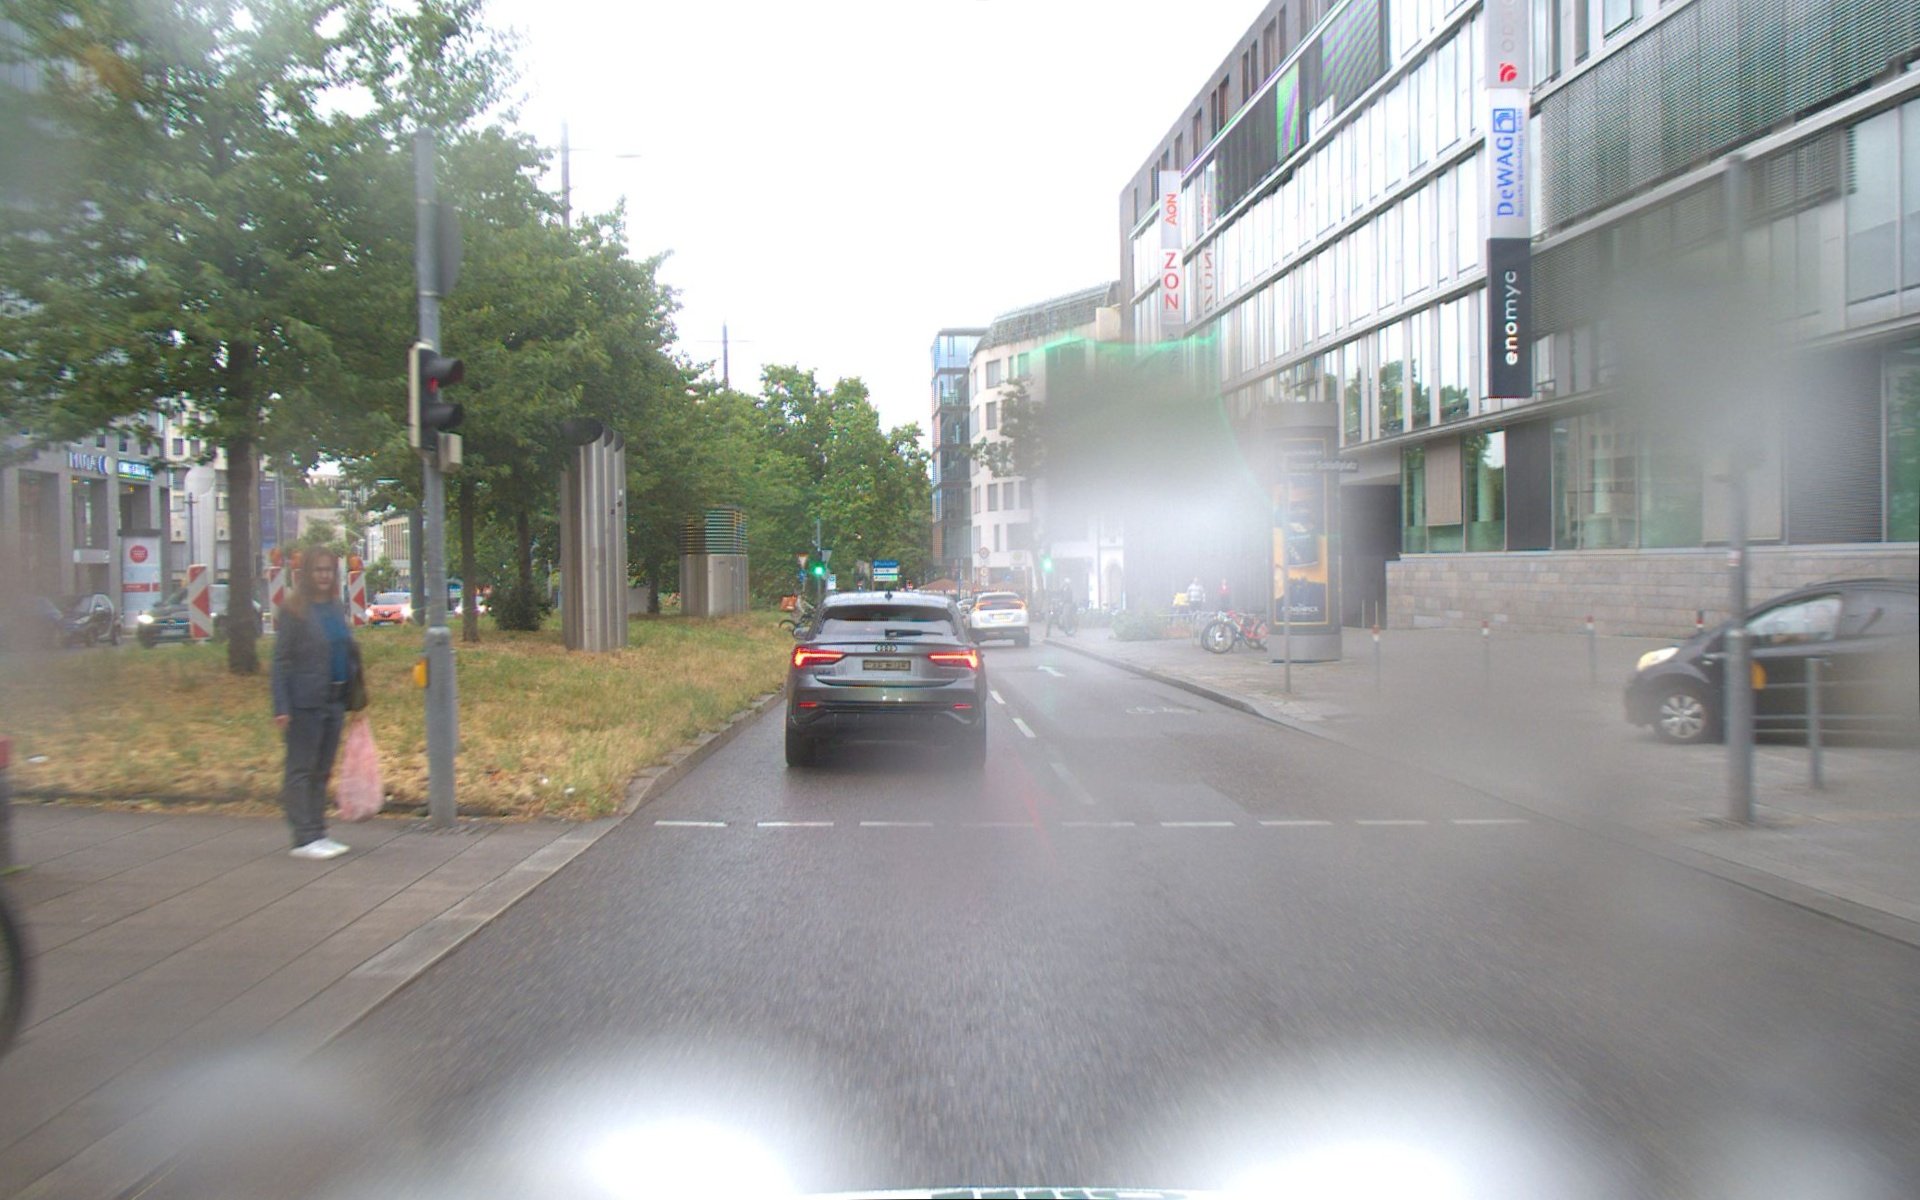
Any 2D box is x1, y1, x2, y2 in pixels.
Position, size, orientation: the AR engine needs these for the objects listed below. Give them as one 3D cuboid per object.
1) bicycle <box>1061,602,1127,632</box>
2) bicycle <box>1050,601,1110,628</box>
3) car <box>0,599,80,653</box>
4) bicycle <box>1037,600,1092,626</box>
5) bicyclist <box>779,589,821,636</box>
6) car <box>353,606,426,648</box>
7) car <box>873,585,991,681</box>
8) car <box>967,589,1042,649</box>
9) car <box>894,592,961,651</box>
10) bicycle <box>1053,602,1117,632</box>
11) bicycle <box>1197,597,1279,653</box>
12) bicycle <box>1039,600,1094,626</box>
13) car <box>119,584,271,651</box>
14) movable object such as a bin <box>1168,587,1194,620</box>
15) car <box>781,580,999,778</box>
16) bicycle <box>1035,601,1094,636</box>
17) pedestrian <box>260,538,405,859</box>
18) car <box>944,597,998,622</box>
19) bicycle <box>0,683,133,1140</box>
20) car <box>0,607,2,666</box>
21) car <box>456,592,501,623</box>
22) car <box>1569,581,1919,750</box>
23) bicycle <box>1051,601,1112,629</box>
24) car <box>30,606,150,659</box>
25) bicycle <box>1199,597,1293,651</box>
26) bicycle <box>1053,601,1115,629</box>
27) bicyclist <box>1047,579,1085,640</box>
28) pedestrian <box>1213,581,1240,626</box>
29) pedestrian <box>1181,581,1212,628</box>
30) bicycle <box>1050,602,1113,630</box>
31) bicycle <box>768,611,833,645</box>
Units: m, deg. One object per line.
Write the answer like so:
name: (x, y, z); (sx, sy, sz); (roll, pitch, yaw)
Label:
bicycle: (5.251, 0.663, 65.020); (2.486, 1.075, 0.677); (-2, 0, -5)
bicycle: (5.149, 0.629, 71.101); (2.486, 1.078, 0.677); (-2, 0, -5)
car: (-25.222, 0.673, 43.836); (1.856, 1.349, 4.469); (-1, 0, -7)
bicycle: (4.887, 0.599, 77.370); (2.486, 1.106, 0.677); (-2, 0, -5)
bicyclist: (-5.642, 0.450, 58.259); (1.109, 1.610, 1.015); (1, -1, 20)
car: (-21.899, 0.995, 63.630); (1.826, 1.454, 4.126); (-2, 1, -7)
car: (-0.629, 0.604, 32.707); (2.119, 1.736, 4.550); (-1, 0, -3)
car: (1.332, 0.567, 50.950); (2.135, 1.730, 3.999); (-1, 0, -1)
car: (-0.950, 0.611, 50.057); (1.905, 1.675, 4.244); (-1, 0, 0)
bicycle: (5.028, 0.684, 66.497); (2.486, 1.106, 0.677); (-1, 0, -5)
bicycle: (6.503, 0.578, 38.757); (1.798, 1.218, 0.660); (-2, 0, 3)
bicycle: (4.933, 0.584, 76.623); (2.486, 1.106, 0.677); (-2, 0, -5)
car: (-18.026, 0.368, 39.201); (1.826, 1.454, 4.560); (-2, 1, -6)
movable object such as a bin: (9.027, 0.140, 67.670); (0.717, 1.286, 1.443); (-3, 0, -3)
car: (-0.584, 0.637, 15.962); (1.810, 1.644, 4.252); (0, 1, 0)
bicycle: (3.711, 0.665, 58.645); (2.111, 1.165, 0.753); (-1, -1, -38)
pedestrian: (-3.474, 0.523, 9.202); (0.517, 1.715, 0.721); (0, 0, 0)
car: (0.828, 0.738, 125.152); (3.907, 1.676, 1.999); (3, 0, -2)
bicycle: (-3.487, 0.812, 4.608); (1.931, 1.159, 0.777); (2, 0, 0)
car: (-23.786, 0.917, 37.374); (1.740, 1.426, 4.681); (-2, 1, -3)
car: (-27.179, 0.413, 93.541); (1.909, 1.730, 3.992); (-1, 0, -9)
car: (7.836, 0.559, 15.389); (3.760, 1.441, 1.628); (-1, 0, 38)
bicycle: (5.147, 0.625, 70.192); (2.486, 1.106, 0.677); (-2, 0, -5)
car: (-25.918, 0.940, 49.400); (1.741, 1.426, 4.011); (-2, 1, -6)
bicycle: (6.369, 0.534, 36.903); (1.942, 1.123, 0.808); (-2, 0, 3)
bicycle: (5.196, 0.627, 69.474); (2.486, 1.106, 0.677); (-2, 0, -5)
bicyclist: (3.778, 0.350, 58.713); (1.074, 2.119, 0.753); (-1, -1, -37)
pedestrian: (10.690, 0.143, 66.378); (0.704, 1.719, 1.099); (-3, 0, -5)
pedestrian: (9.479, 0.167, 66.327); (0.882, 1.823, 1.045); (-3, 0, -5)
bicycle: (4.951, 0.647, 67.301); (2.486, 1.106, 0.677); (1, 0, -5)
bicycle: (-5.600, 0.997, 58.220); (2.018, 1.133, 1.012); (1, 0, 20)
